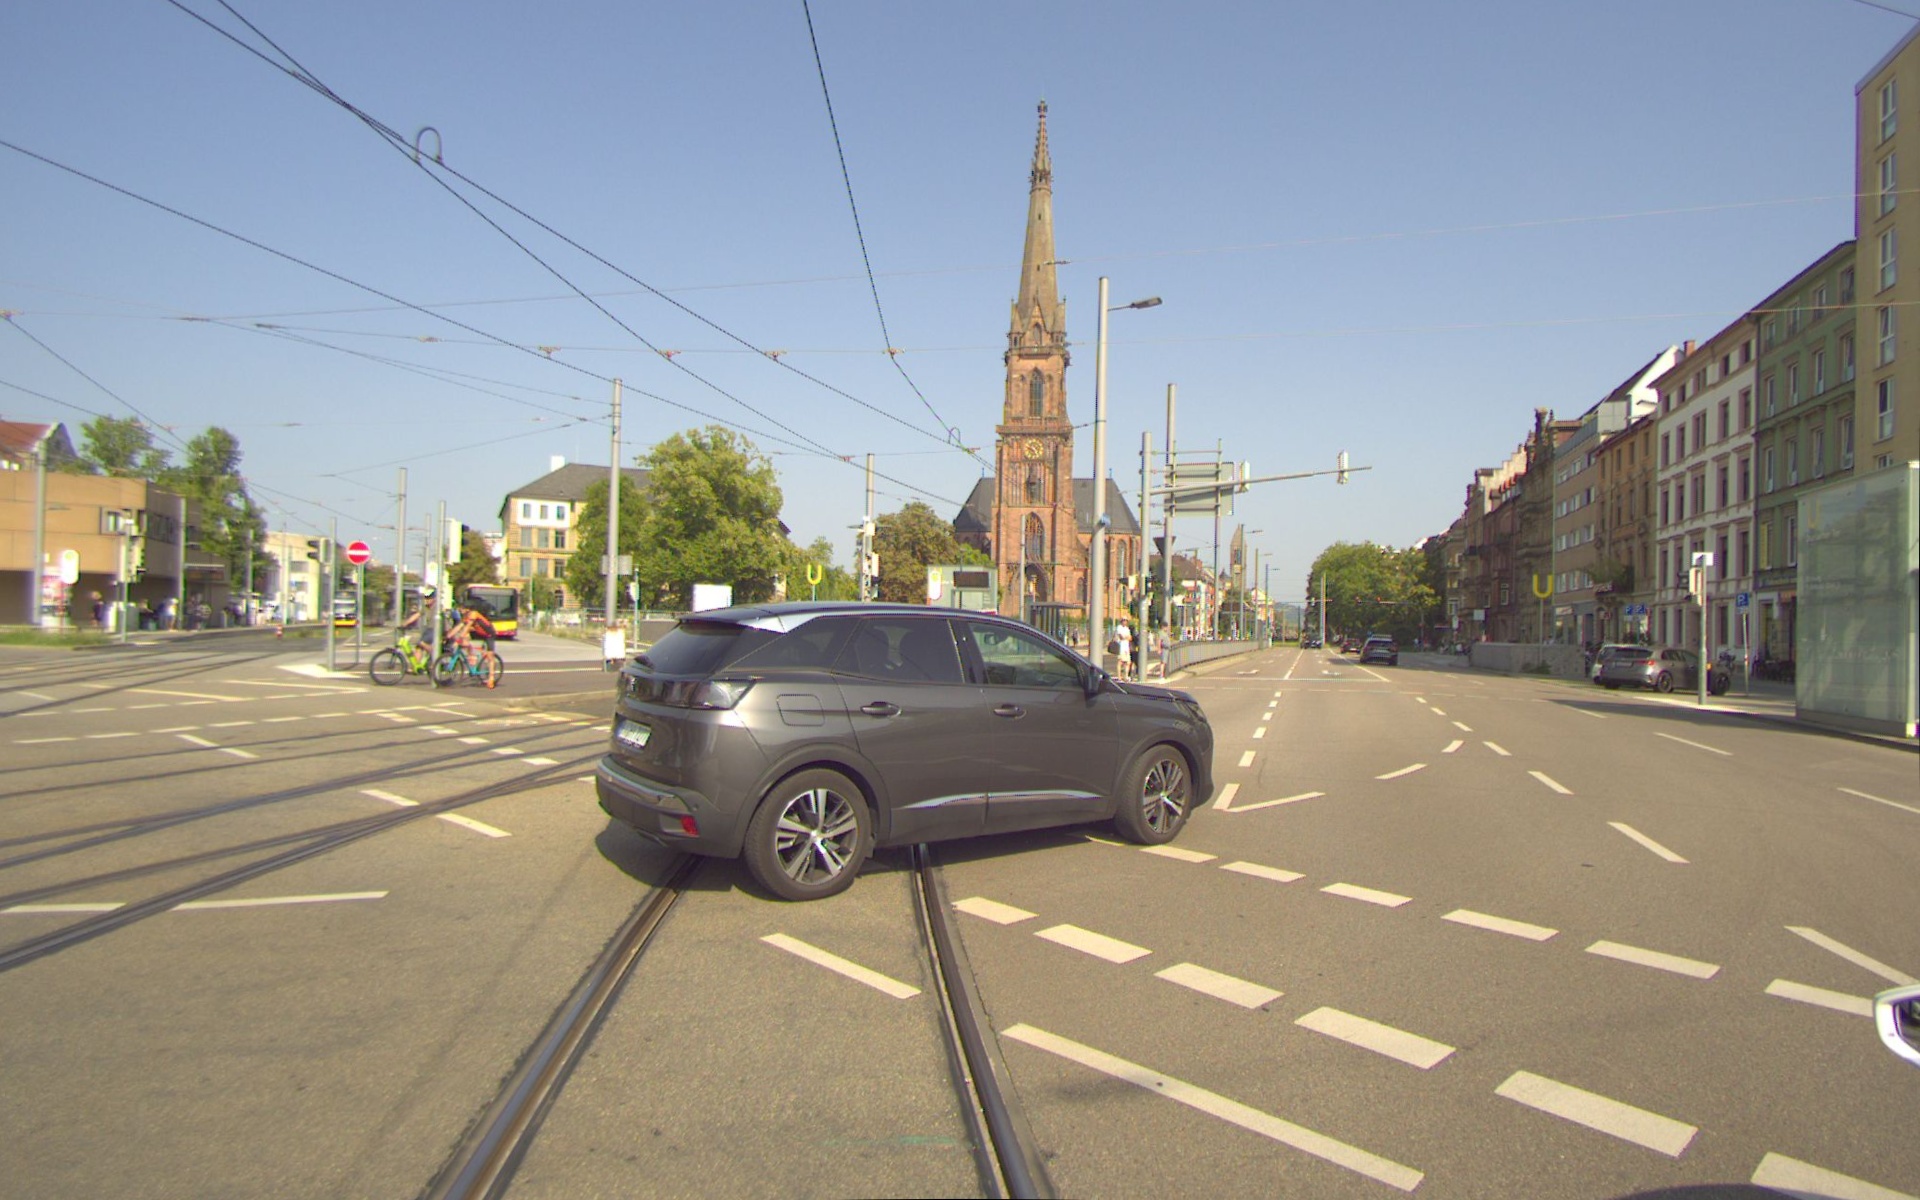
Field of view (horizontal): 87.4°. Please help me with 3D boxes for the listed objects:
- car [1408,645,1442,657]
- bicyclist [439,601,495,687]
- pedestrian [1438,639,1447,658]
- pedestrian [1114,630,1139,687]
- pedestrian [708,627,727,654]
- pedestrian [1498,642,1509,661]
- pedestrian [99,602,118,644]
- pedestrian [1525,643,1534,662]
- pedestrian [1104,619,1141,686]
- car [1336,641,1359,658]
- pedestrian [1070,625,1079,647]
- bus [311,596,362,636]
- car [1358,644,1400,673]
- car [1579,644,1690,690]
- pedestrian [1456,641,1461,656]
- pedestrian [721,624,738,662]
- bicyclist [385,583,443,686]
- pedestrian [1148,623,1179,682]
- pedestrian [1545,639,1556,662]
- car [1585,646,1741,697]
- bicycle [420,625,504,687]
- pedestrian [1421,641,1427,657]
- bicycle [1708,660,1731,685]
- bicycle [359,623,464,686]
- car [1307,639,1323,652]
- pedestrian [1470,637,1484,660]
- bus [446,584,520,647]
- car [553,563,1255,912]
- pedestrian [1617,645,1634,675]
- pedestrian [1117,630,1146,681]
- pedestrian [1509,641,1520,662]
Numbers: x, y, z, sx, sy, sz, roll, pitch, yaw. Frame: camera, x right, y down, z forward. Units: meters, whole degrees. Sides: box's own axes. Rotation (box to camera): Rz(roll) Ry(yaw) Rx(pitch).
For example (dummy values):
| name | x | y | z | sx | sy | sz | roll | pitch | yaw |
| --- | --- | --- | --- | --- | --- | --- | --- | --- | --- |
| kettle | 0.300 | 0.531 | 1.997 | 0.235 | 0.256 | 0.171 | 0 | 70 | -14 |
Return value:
| name | x | y | z | sx | sy | sz | roll | pitch | yaw |
| --- | --- | --- | --- | --- | --- | --- | --- | --- | --- |
| car | 66.344 | 7.299 | 143.269 | 4.109 | 1.584 | 2.001 | 1 | -2 | 15 |
| bicyclist | -9.700 | 0.855 | 19.785 | 0.503 | 1.652 | 0.805 | 1 | -1 | 35 |
| pedestrian | 44.583 | 4.506 | 92.798 | 0.555 | 1.751 | 0.746 | 1 | -1 | 16 |
| pedestrian | 4.827 | 1.696 | 29.169 | 0.622 | 1.618 | 0.468 | -1 | -2 | 18 |
| pedestrian | -11.810 | 1.973 | 48.861 | 0.758 | 1.309 | 0.554 | 2 | -1 | -27 |
| pedestrian | 48.488 | 4.616 | 89.622 | 0.708 | 1.631 | 0.856 | 1 | -1 | 20 |
| pedestrian | -36.951 | 0.992 | 43.587 | 0.398 | 1.792 | 0.556 | 2 | -1 | -24 |
| pedestrian | 51.653 | 4.748 | 91.135 | 0.593 | 1.676 | 0.587 | 1 | -1 | 16 |
| pedestrian | 4.495 | 1.462 | 27.780 | 0.820 | 1.811 | 0.728 | -2 | -3 | 27 |
| car | 36.980 | 4.696 | 95.861 | 1.833 | 1.443 | 4.358 | 3 | -1 | 20 |
| pedestrian | 9.136 | 2.895 | 80.061 | 0.508 | 1.723 | 0.665 | 1 | -1 | 18 |
| bus | -59.221 | 1.548 | 95.648 | 3.186 | 3.464 | 13.217 | 2 | -2 | -28 |
| car | 23.239 | 3.223 | 55.799 | 1.833 | 1.443 | 4.358 | 3 | -1 | 20 |
| car | 24.036 | 2.382 | 35.794 | 3.478 | 1.483 | 1.614 | 3 | -2 | -23 |
| pedestrian | 44.341 | 4.313 | 89.372 | 0.270 | 1.291 | 0.448 | 1 | -1 | 12 |
| pedestrian | -11.142 | 2.080 | 48.560 | 0.633 | 1.783 | 0.440 | 2 | -1 | -28 |
| bicyclist | -10.953 | 0.681 | 20.159 | 0.571 | 2.000 | 0.805 | 1 | -1 | 34 |
| pedestrian | 6.057 | 1.562 | 29.924 | 0.800 | 1.715 | 0.651 | -1 | -2 | 20 |
| pedestrian | 48.209 | 4.116 | 82.012 | 0.593 | 1.856 | 0.743 | 1 | -1 | 16 |
| car | 22.076 | 2.243 | 31.545 | 4.342 | 1.442 | 1.840 | 3 | -2 | -20 |
| bicycle | -9.779 | 1.088 | 19.781 | 0.306 | 1.181 | 1.494 | 1 | -1 | 34 |
| pedestrian | 49.524 | 5.244 | 107.163 | 0.473 | 1.724 | 0.703 | 1 | -1 | 16 |
| bicycle | 37.222 | 3.549 | 49.235 | 0.377 | 1.149 | 1.720 | 1 | -2 | 20 |
| bicycle | -10.966 | 1.076 | 20.138 | 0.371 | 1.181 | 1.853 | 1 | -1 | 34 |
| car | 43.003 | 5.518 | 121.712 | 1.711 | 1.547 | 3.874 | 1 | -2 | 18 |
| pedestrian | 43.106 | 4.025 | 83.791 | 0.910 | 1.856 | 0.801 | 1 | -1 | 16 |
| bus | -28.303 | 0.923 | 59.219 | 3.186 | 3.220 | 13.217 | 2 | -2 | -28 |
| car | -0.247 | 0.737 | 6.772 | 4.311 | 1.642 | 1.982 | 3 | -2 | -34 |
| pedestrian | 37.248 | 3.375 | 56.219 | 0.598 | 1.650 | 0.737 | 1 | -1 | 20 |
| pedestrian | 5.410 | 1.751 | 31.642 | 0.794 | 1.568 | 0.548 | -2 | -2 | 21 |
| pedestrian | 49.311 | 4.578 | 89.354 | 0.708 | 1.811 | 0.856 | 1 | -1 | 20 |
